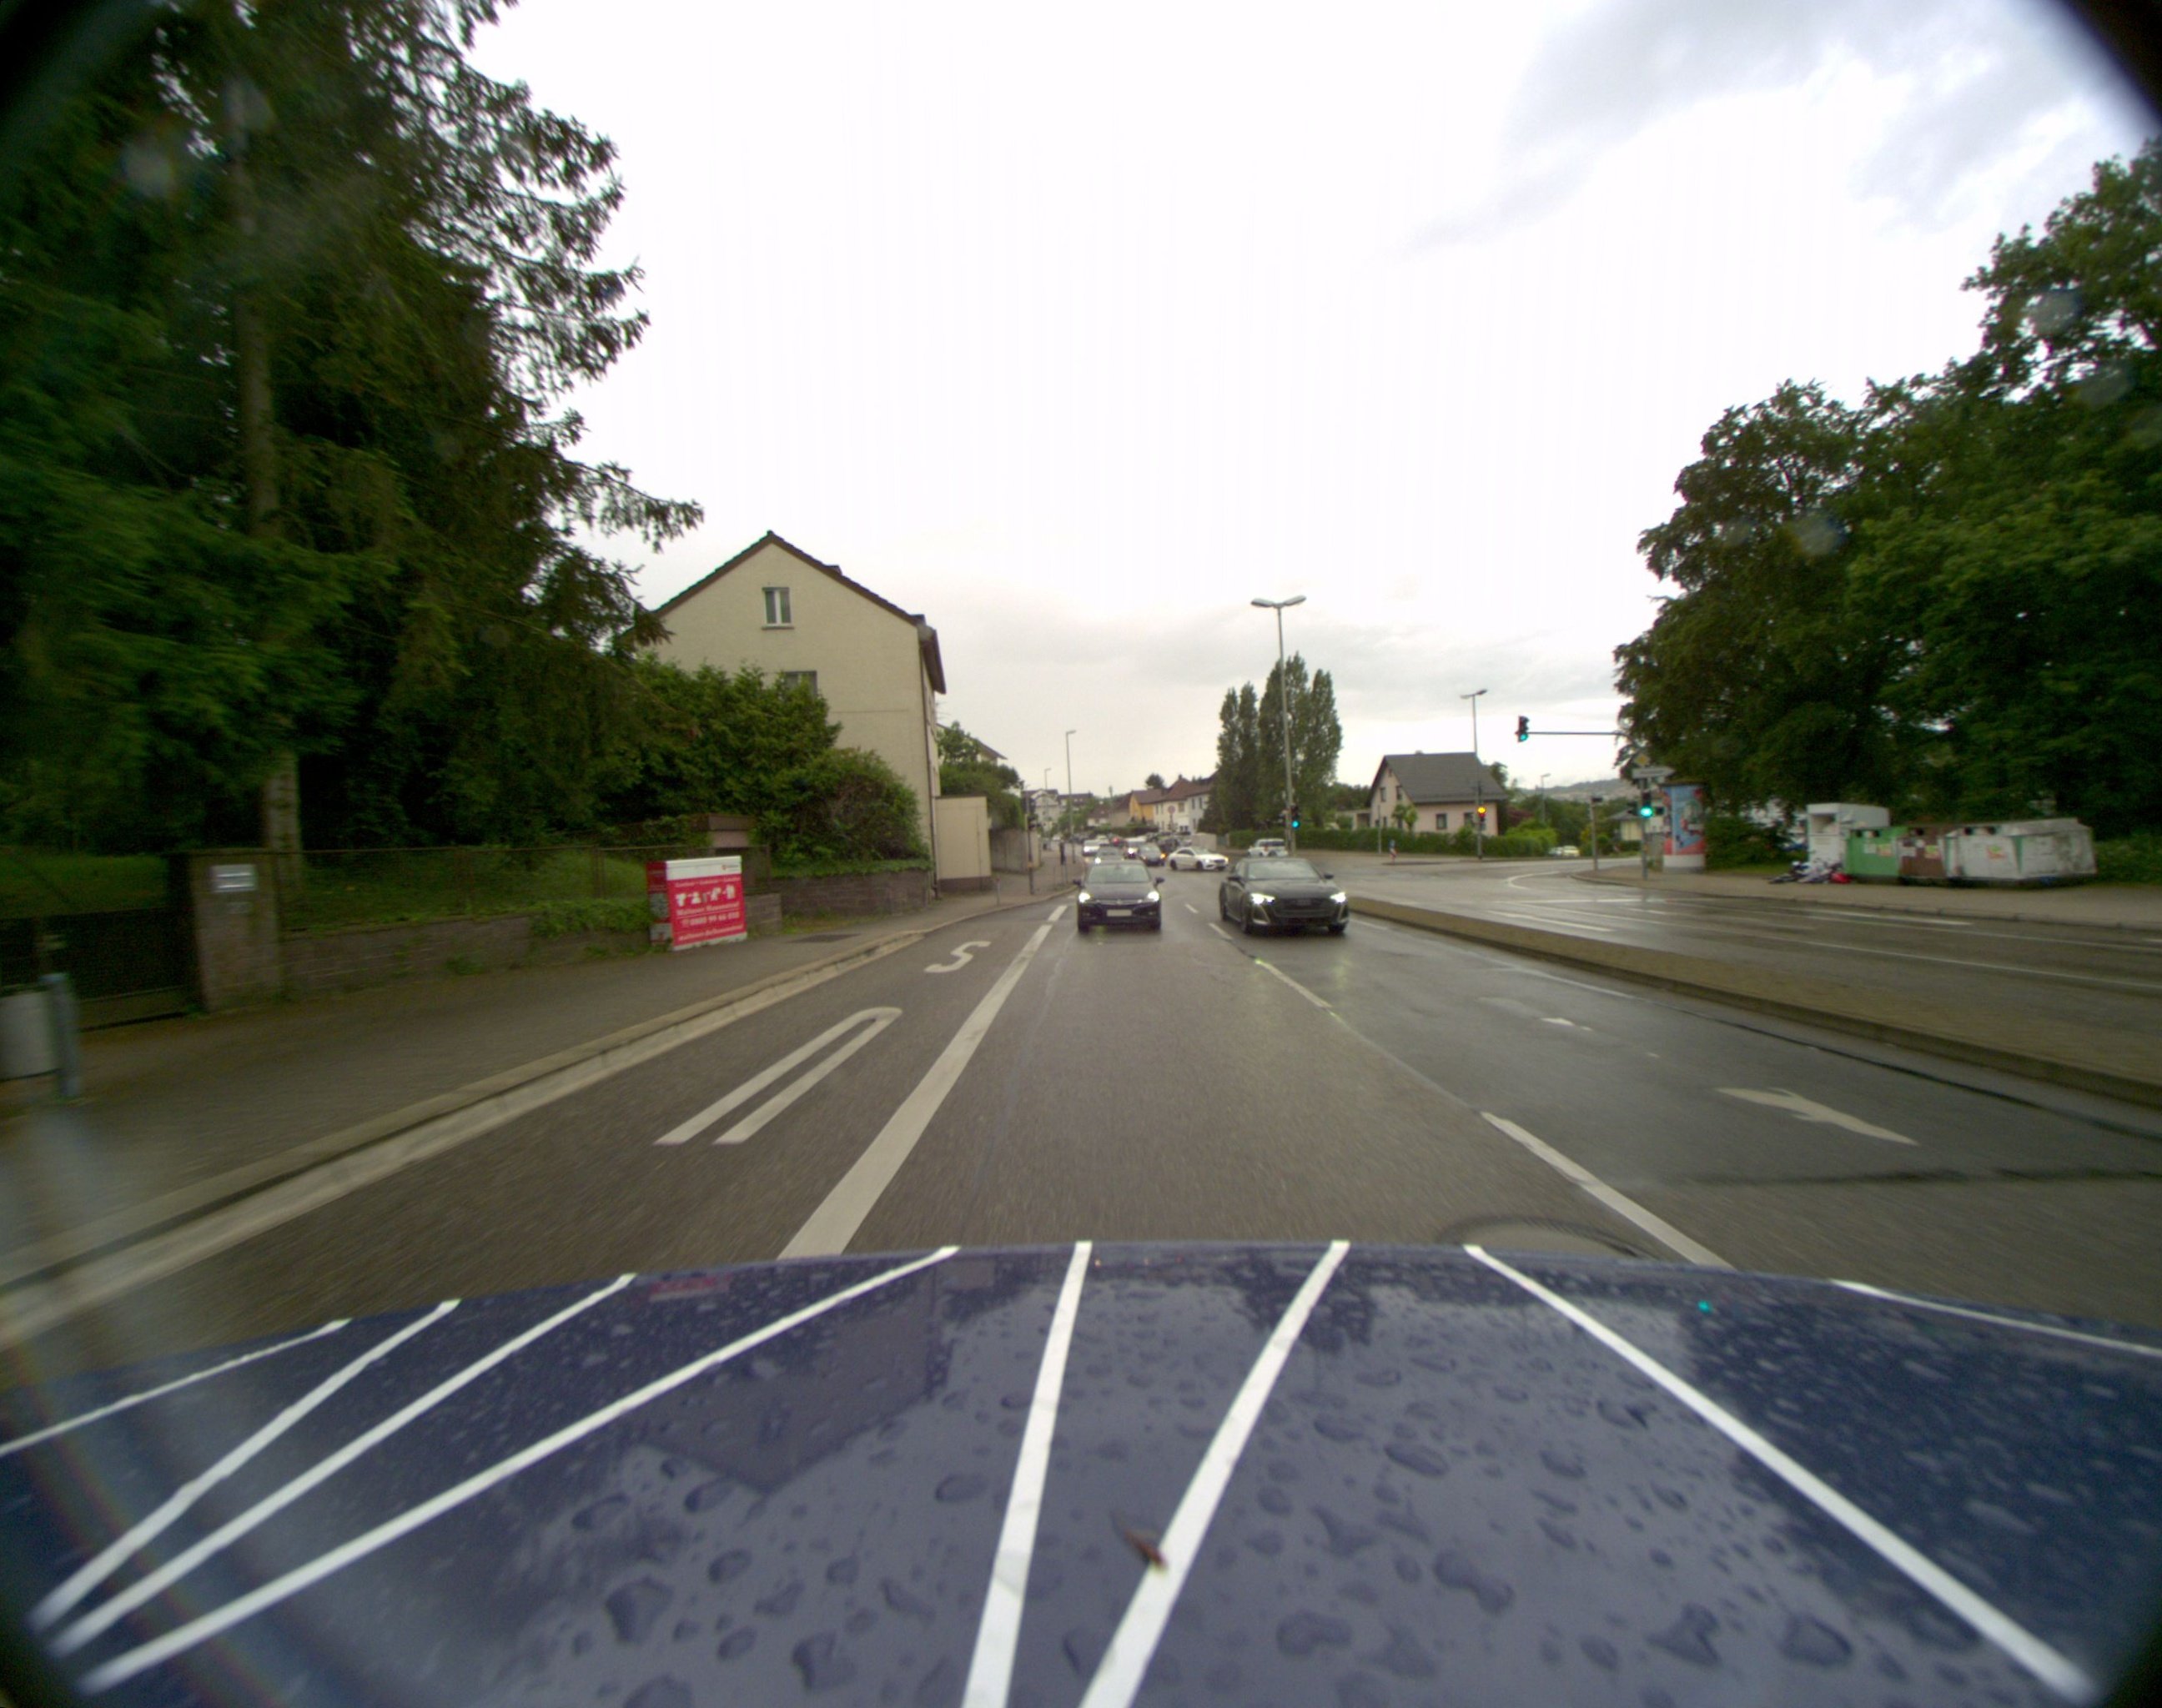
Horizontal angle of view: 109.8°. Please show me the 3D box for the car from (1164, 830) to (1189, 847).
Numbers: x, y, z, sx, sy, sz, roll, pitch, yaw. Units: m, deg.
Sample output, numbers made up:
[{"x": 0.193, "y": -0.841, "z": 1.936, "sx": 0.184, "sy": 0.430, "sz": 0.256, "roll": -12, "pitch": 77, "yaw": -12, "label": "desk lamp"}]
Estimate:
[{"x": 9.186, "y": -1.526, "z": 73.587, "sx": 1.846, "sy": 1.543, "sz": 4.382, "roll": -2, "pitch": 2, "yaw": 0, "label": "car"}]

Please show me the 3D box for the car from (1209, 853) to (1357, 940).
[{"x": 3.931, "y": 0.742, "z": 15.650, "sx": 1.910, "sy": 1.390, "sz": 4.857, "roll": -2, "pitch": 1, "yaw": 3, "label": "car"}]

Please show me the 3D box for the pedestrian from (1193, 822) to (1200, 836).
[{"x": 15.471, "y": -3.293, "z": 101.539, "sx": 0.670, "sy": 1.779, "sz": 0.539, "roll": -6, "pitch": 3, "yaw": -3, "label": "pedestrian"}]

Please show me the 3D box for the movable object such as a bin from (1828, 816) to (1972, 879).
[{"x": 21.727, "y": -0.167, "z": 20.226, "sx": 2.062, "sy": 1.560, "sz": 1.582, "roll": -2, "pitch": 1, "yaw": 5, "label": "movable object such as a bin"}]

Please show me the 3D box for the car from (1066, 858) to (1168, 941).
[{"x": 0.800, "y": 0.863, "z": 16.166, "sx": 1.840, "sy": 1.390, "sz": 4.000, "roll": -3, "pitch": 1, "yaw": 4, "label": "car"}]

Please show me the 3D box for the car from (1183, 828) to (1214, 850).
[{"x": 9.853, "y": -1.303, "z": 64.229, "sx": 1.904, "sy": 1.674, "sz": 4.477, "roll": -2, "pitch": 3, "yaw": 0, "label": "car"}]

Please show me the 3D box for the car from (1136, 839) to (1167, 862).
[{"x": 5.086, "y": -0.301, "z": 55.372, "sx": 1.840, "sy": 1.479, "sz": 4.056, "roll": -2, "pitch": 3, "yaw": 0, "label": "car"}]

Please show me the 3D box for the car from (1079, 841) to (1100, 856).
[{"x": 0.868, "y": -0.536, "z": 77.898, "sx": 1.841, "sy": 1.472, "sz": 3.999, "roll": -2, "pitch": 0, "yaw": -3, "label": "car"}]

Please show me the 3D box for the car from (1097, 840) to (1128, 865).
[{"x": 2.035, "y": -0.076, "z": 49.608, "sx": 1.840, "sy": 1.448, "sz": 4.001, "roll": -2, "pitch": -1, "yaw": 2, "label": "car"}]

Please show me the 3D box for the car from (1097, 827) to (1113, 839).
[{"x": 3.500, "y": -3.117, "z": 113.201, "sx": 1.841, "sy": 1.548, "sz": 4.766, "roll": -2, "pitch": 3, "yaw": -4, "label": "car"}]

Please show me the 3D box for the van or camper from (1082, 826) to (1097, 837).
[{"x": 1.697, "y": -4.557, "z": 151.867, "sx": 2.191, "sy": 2.003, "sz": 5.128, "roll": -3, "pitch": 3, "yaw": -8, "label": "van or camper"}]

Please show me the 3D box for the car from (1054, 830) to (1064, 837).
[{"x": -5.337, "y": -4.919, "z": 184.075, "sx": 1.838, "sy": 1.522, "sz": 3.996, "roll": -2, "pitch": 2, "yaw": -6, "label": "car"}]

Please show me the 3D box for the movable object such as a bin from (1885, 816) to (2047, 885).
[{"x": 21.619, "y": -0.075, "z": 18.632, "sx": 2.062, "sy": 1.560, "sz": 1.582, "roll": -2, "pitch": 1, "yaw": 5, "label": "movable object such as a bin"}]

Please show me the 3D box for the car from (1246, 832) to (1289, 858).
[{"x": 13.169, "y": -0.676, "z": 53.967, "sx": 1.828, "sy": 1.648, "sz": 4.464, "roll": -2, "pitch": 2, "yaw": -2, "label": "car"}]

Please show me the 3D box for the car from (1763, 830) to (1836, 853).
[{"x": 59.882, "y": -1.066, "z": 63.431, "sx": 4.082, "sy": 1.839, "sz": 1.942, "roll": 0, "pitch": 2, "yaw": 30, "label": "car"}]

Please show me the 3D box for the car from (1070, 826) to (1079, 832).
[{"x": -1.855, "y": -6.824, "z": 207.476, "sx": 2.000, "sy": 1.565, "sz": 3.995, "roll": -2, "pitch": 3, "yaw": -6, "label": "car"}]

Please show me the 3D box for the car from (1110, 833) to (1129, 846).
[{"x": 5.021, "y": -1.936, "z": 99.629, "sx": 1.999, "sy": 1.565, "sz": 3.996, "roll": -2, "pitch": 3, "yaw": -5, "label": "car"}]

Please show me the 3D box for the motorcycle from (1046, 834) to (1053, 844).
[{"x": -4.133, "y": -1.980, "z": 99.656, "sx": 0.694, "sy": 1.317, "sz": 2.476, "roll": -2, "pitch": 3, "yaw": -8, "label": "motorcycle"}]

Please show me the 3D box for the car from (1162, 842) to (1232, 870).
[{"x": 7.073, "y": 0.064, "z": 46.879, "sx": 1.916, "sy": 1.520, "sz": 4.640, "roll": -3, "pitch": 3, "yaw": -26, "label": "car"}]

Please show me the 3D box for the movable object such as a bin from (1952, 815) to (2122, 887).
[{"x": 21.492, "y": -0.065, "z": 17.148, "sx": 2.062, "sy": 1.506, "sz": 1.344, "roll": -2, "pitch": 1, "yaw": 5, "label": "movable object such as a bin"}]

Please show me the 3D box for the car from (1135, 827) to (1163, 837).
[{"x": 11.060, "y": -3.531, "z": 122.958, "sx": 4.114, "sy": 1.475, "sz": 1.838, "roll": 1, "pitch": 1, "yaw": -14, "label": "car"}]

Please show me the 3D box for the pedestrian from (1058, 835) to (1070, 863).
[{"x": -1.247, "y": -0.372, "z": 56.500, "sx": 0.799, "sy": 2.003, "sz": 0.734, "roll": -3, "pitch": 3, "yaw": 0, "label": "pedestrian"}]

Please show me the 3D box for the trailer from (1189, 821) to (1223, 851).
[{"x": 9.819, "y": -1.430, "z": 59.921, "sx": 1.901, "sy": 2.167, "sz": 4.034, "roll": -2, "pitch": 2, "yaw": 0, "label": "trailer"}]

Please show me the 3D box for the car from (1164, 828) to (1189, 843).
[{"x": 10.744, "y": -2.105, "z": 85.524, "sx": 1.810, "sy": 1.560, "sz": 4.138, "roll": -2, "pitch": 3, "yaw": -6, "label": "car"}]

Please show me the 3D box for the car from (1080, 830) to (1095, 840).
[{"x": 1.078, "y": -3.235, "z": 128.971, "sx": 1.859, "sy": 1.456, "sz": 3.996, "roll": -3, "pitch": 2, "yaw": -8, "label": "car"}]

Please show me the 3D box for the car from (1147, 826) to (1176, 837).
[{"x": 12.392, "y": -3.459, "z": 117.156, "sx": 4.111, "sy": 1.412, "sz": 1.882, "roll": -4, "pitch": 3, "yaw": -6, "label": "car"}]

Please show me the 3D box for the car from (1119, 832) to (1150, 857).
[{"x": 4.457, "y": -0.829, "z": 63.719, "sx": 1.957, "sy": 1.861, "sz": 4.742, "roll": -2, "pitch": 2, "yaw": -3, "label": "car"}]

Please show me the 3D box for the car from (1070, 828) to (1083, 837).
[{"x": -0.858, "y": -3.975, "z": 141.273, "sx": 1.717, "sy": 1.494, "sz": 3.995, "roll": -3, "pitch": 3, "yaw": -7, "label": "car"}]

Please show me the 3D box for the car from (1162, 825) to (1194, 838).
[{"x": 13.667, "y": -3.195, "z": 107.160, "sx": 3.999, "sy": 1.412, "sz": 1.882, "roll": -5, "pitch": 3, "yaw": -6, "label": "car"}]

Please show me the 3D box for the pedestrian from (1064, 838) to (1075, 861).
[{"x": -0.899, "y": -0.360, "z": 58.561, "sx": 0.796, "sy": 1.771, "sz": 1.011, "roll": -1, "pitch": 3, "yaw": 0, "label": "pedestrian"}]
